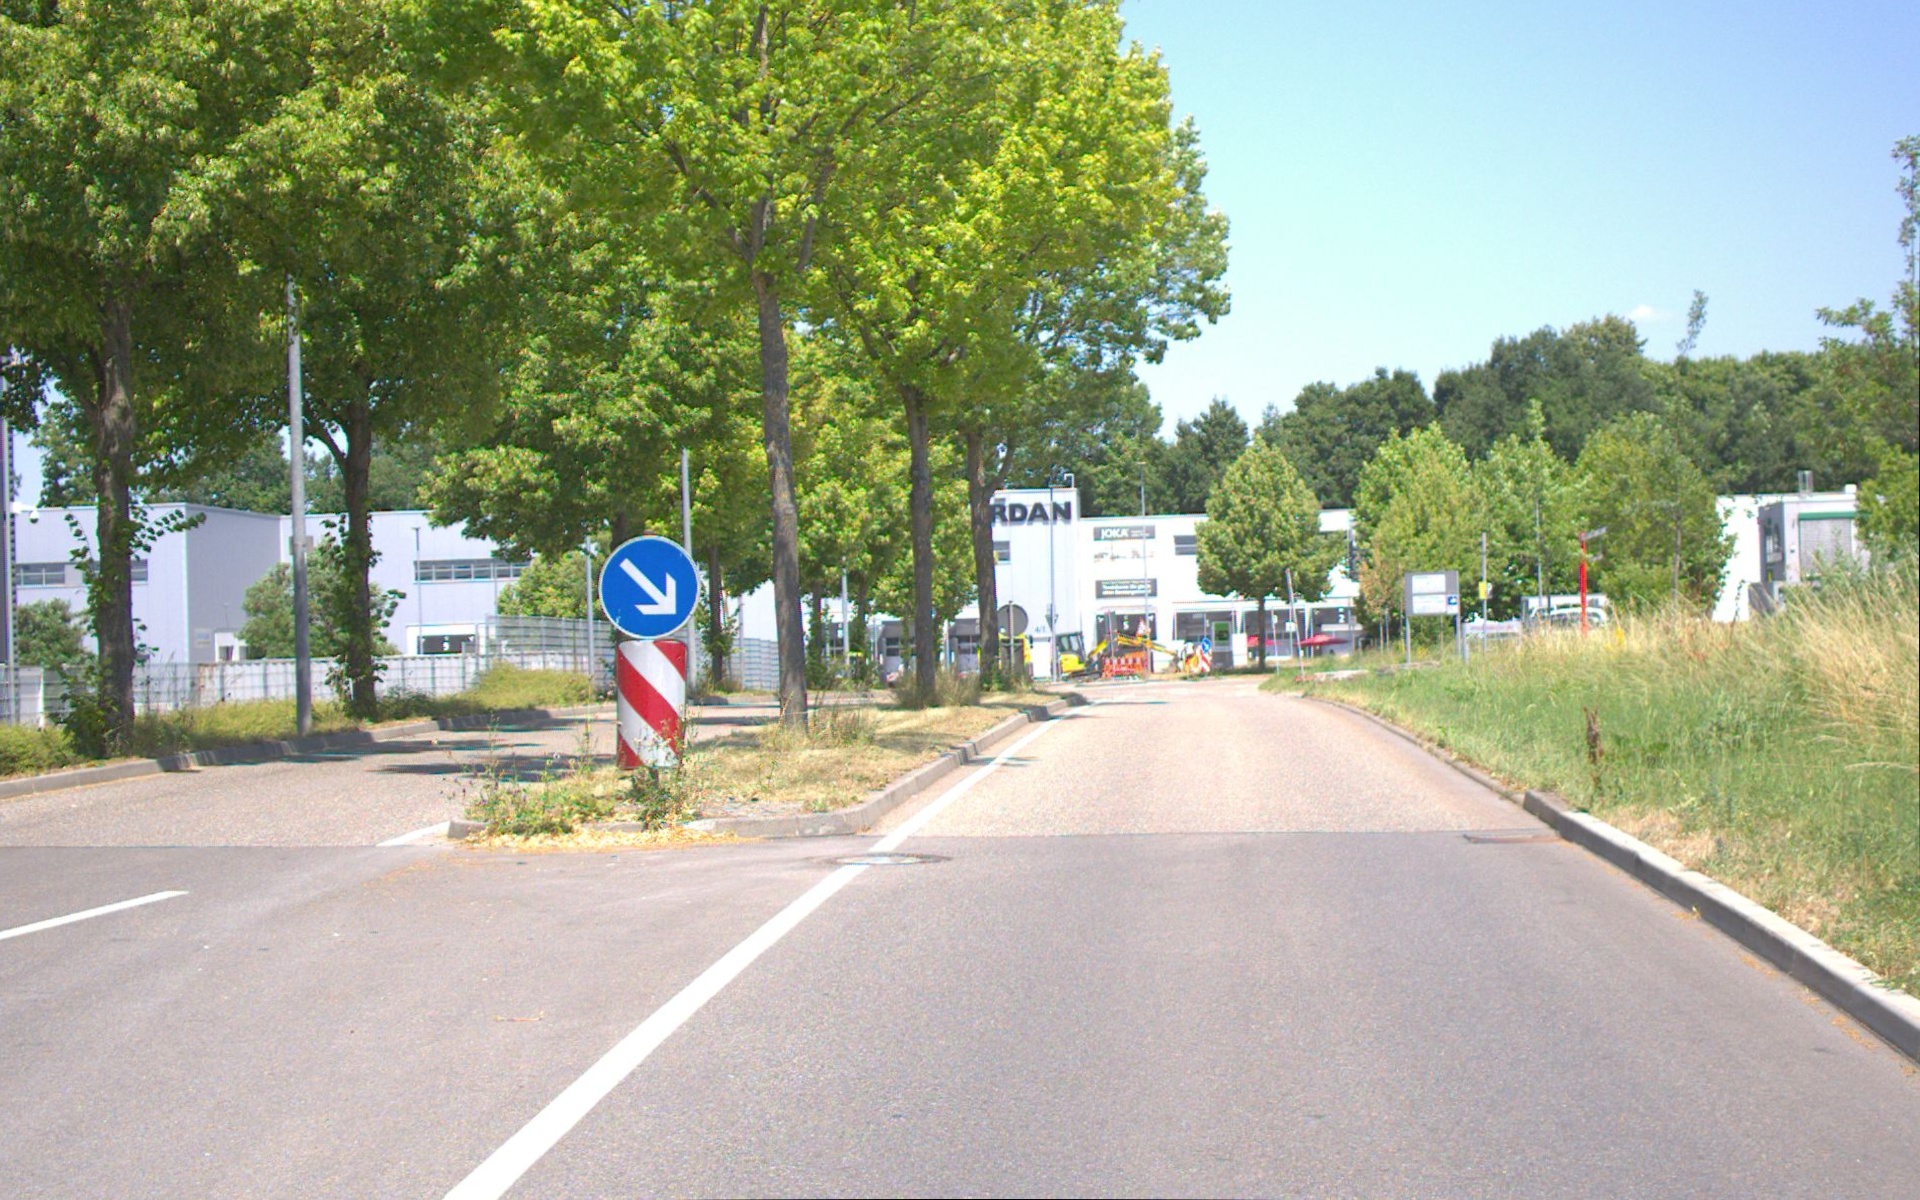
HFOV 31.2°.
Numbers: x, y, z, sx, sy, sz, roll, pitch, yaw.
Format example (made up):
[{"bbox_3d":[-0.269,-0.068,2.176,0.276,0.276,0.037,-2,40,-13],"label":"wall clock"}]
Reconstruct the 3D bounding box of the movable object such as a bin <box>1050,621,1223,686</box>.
[{"bbox_3d":[8.350,2.498,162.152,7.530,2.491,3.664,-3,2,12],"label":"movable object such as a bin"}]

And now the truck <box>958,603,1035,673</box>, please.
[{"bbox_3d":[1.698,1.769,162.064,2.938,2.876,5.811,-4,2,-5],"label":"truck"}]
